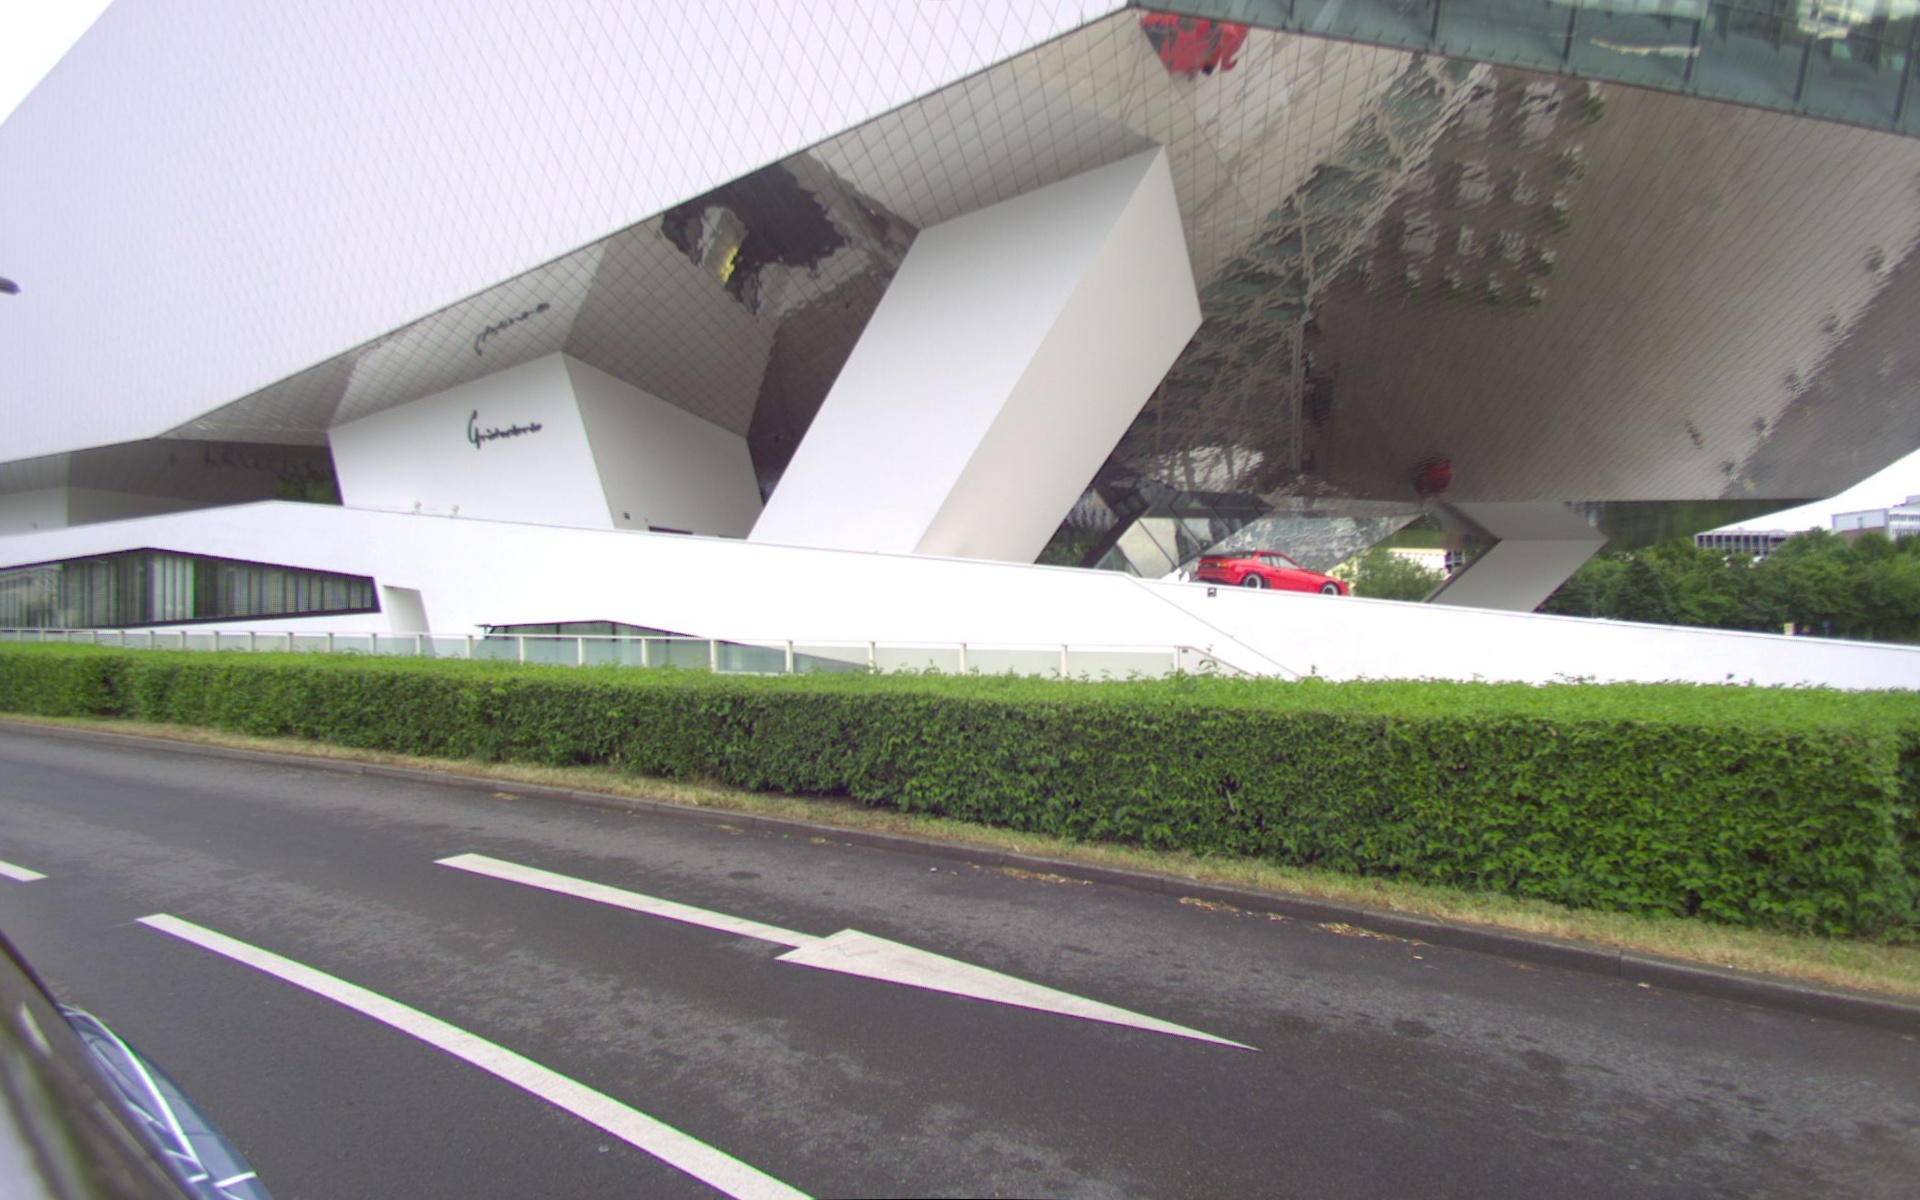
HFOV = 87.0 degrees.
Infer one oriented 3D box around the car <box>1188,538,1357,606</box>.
[{"bbox_3d":[8.447,-0.710,27.405,4.032,1.252,1.643,7,-4,-15],"label":"car"}]
